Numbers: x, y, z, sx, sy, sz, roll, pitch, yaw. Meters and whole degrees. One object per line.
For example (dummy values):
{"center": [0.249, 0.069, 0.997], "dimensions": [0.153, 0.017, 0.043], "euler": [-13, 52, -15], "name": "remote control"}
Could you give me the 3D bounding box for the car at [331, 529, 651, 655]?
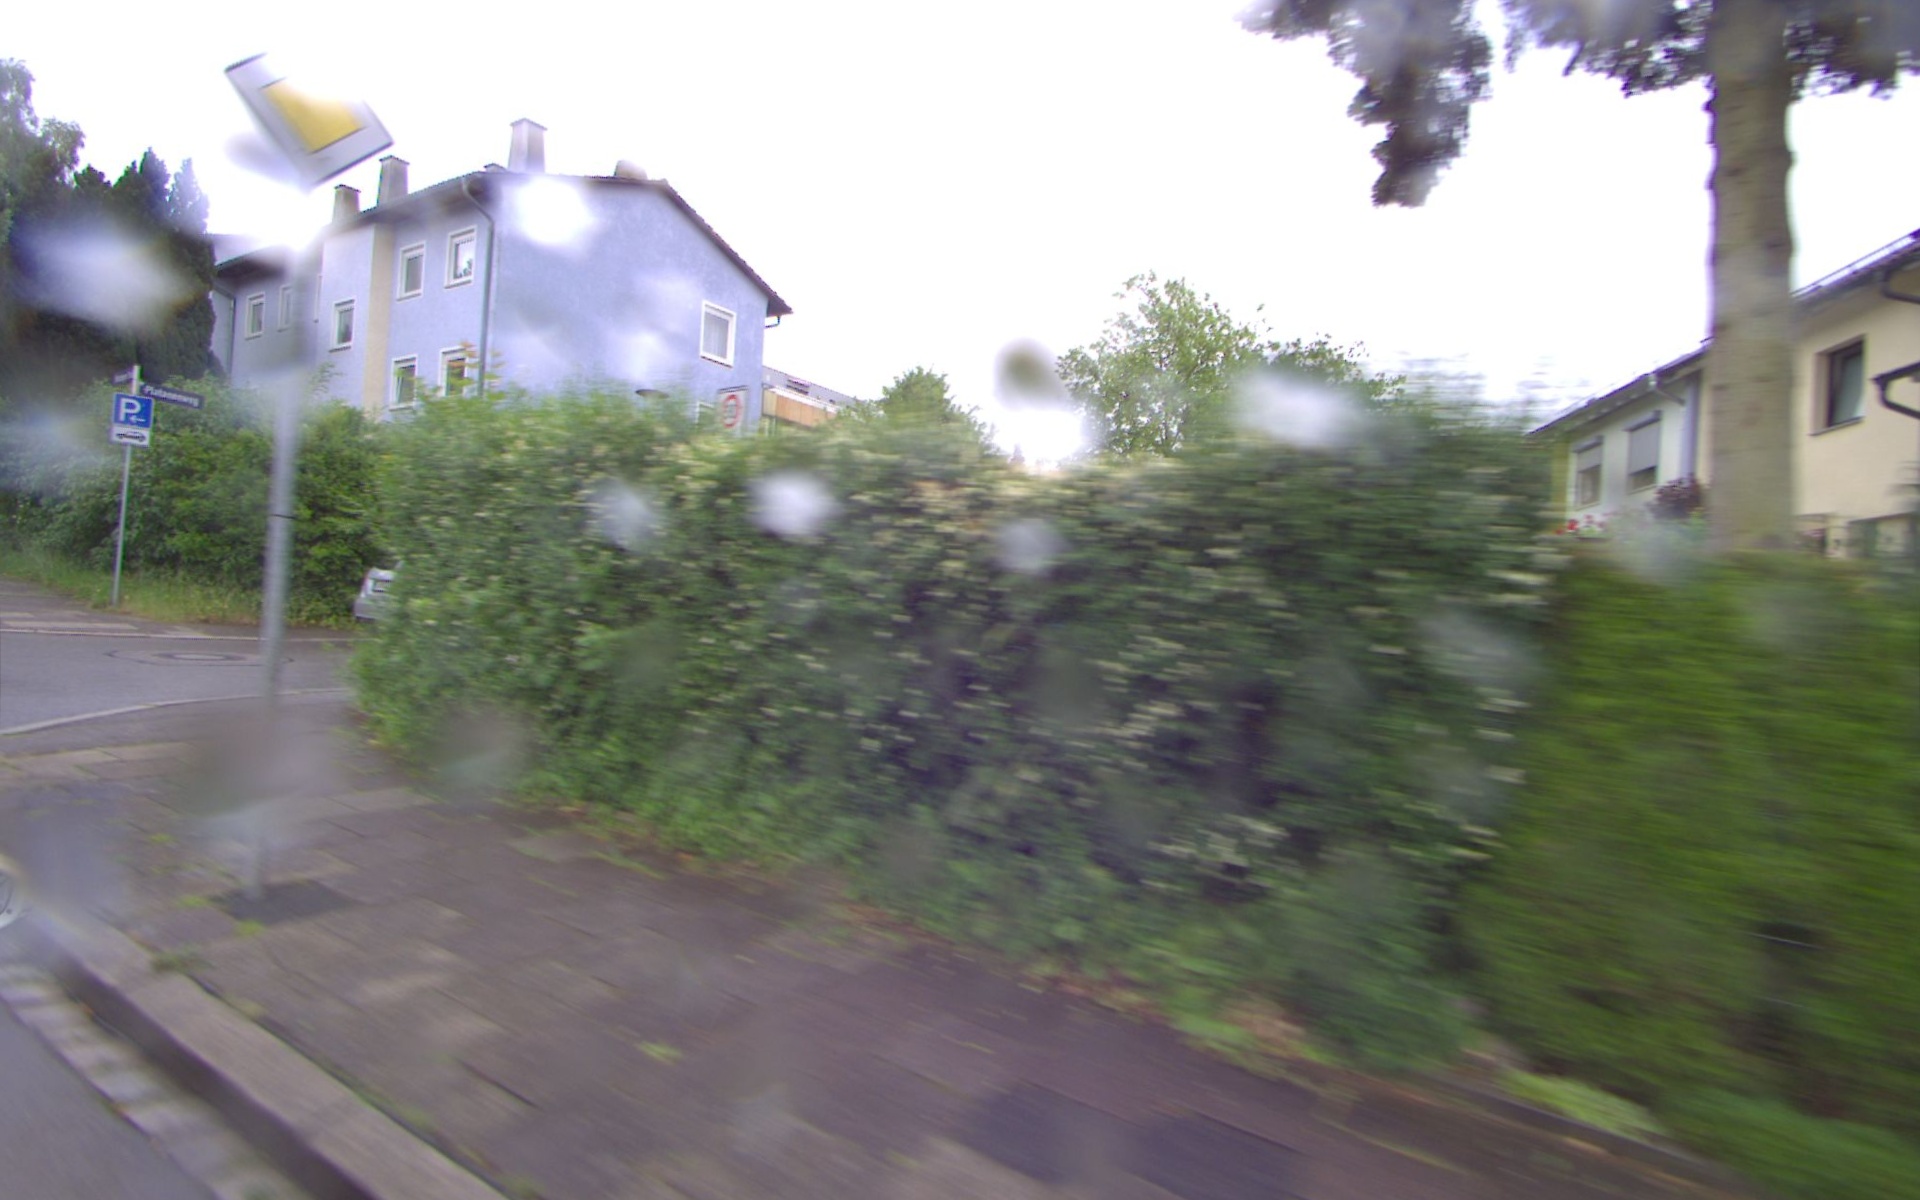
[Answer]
{"center": [-6.763, -0.110, 14.906], "dimensions": [1.672, 1.509, 3.984], "euler": [7, 3, 33], "name": "car"}
